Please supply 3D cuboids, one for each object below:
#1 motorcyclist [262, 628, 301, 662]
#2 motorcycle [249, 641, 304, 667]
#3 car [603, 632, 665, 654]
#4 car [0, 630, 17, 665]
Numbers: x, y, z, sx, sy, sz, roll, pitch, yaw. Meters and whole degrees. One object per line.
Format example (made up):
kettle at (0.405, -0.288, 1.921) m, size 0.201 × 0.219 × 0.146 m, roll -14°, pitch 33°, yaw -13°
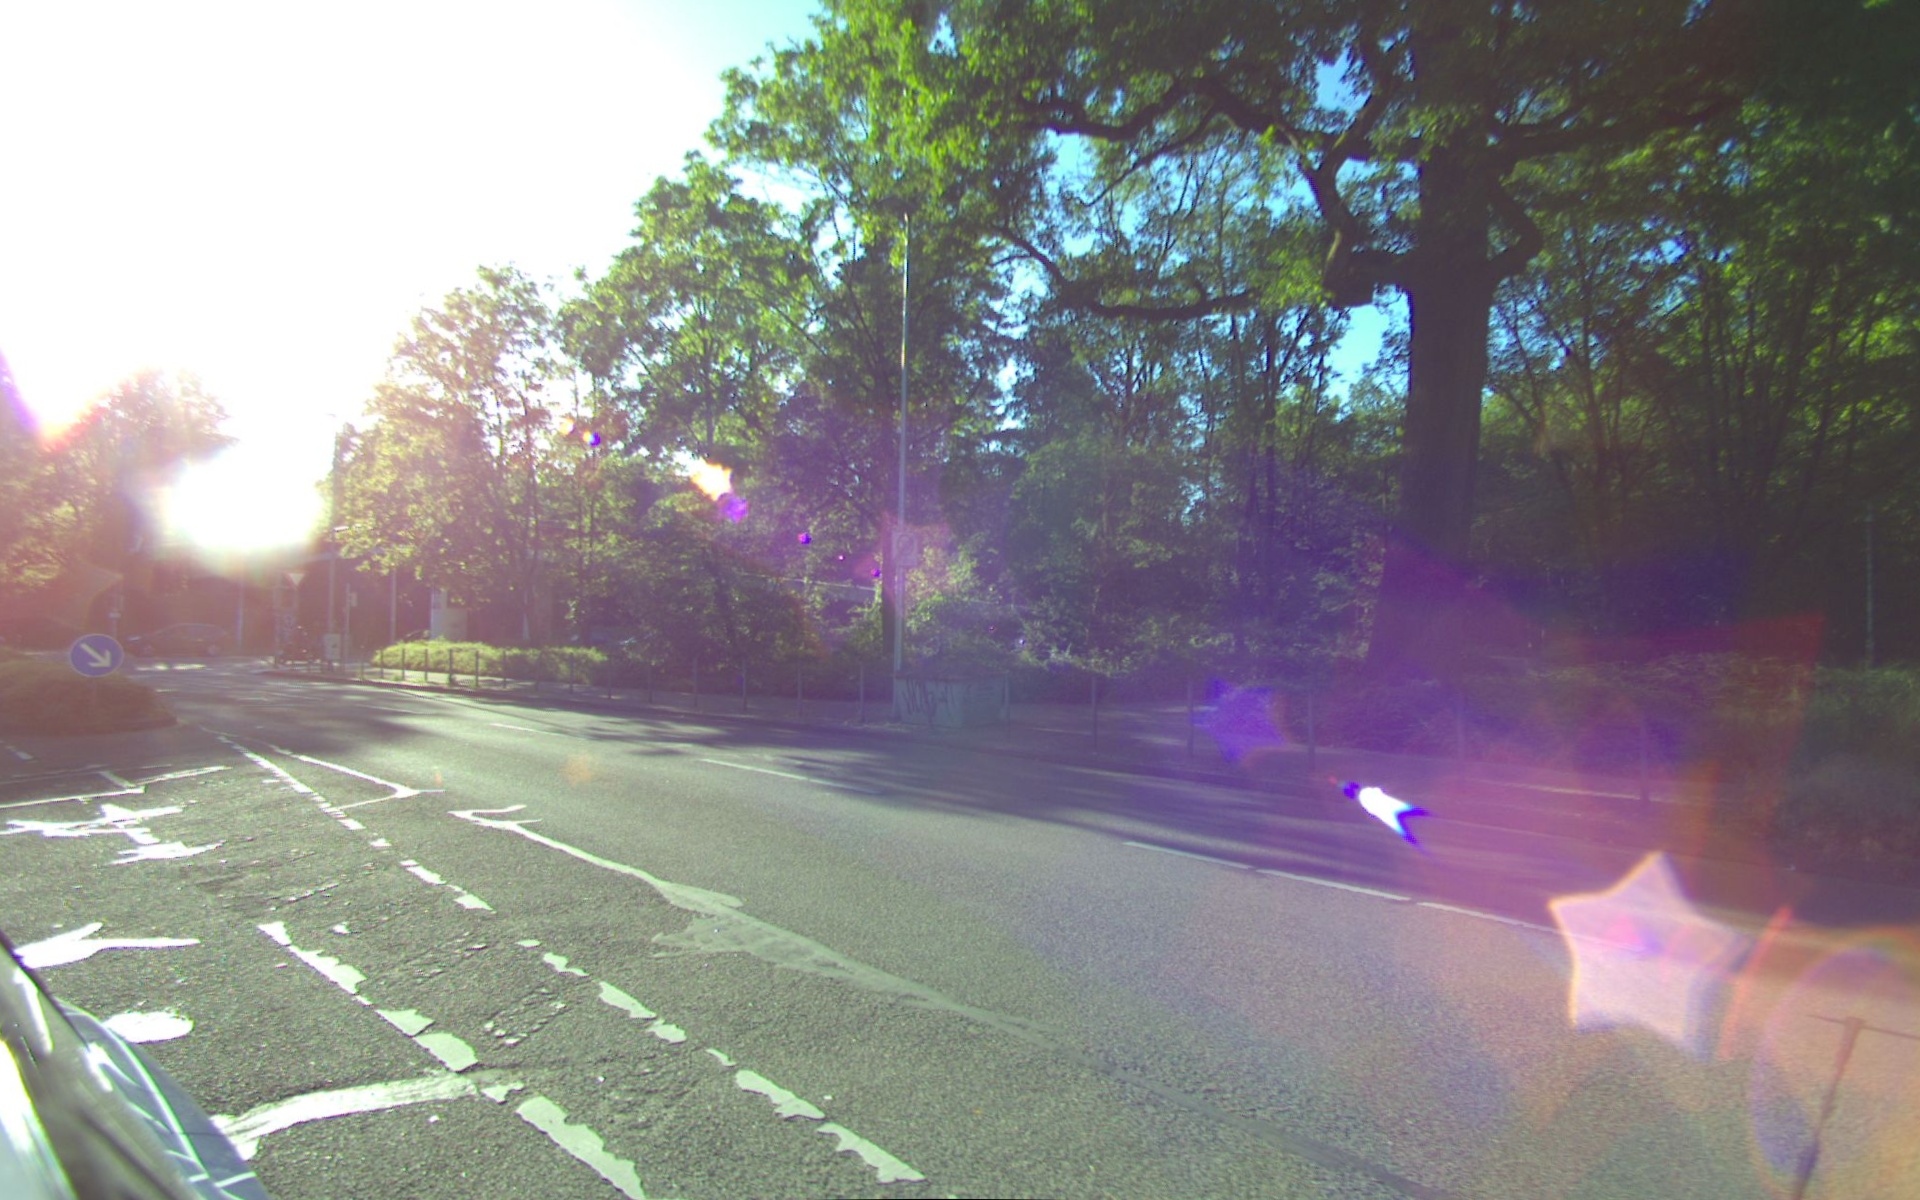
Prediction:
motorcyclist at (-29.902, 1.977, 44.602) m, size 0.941 × 1.482 × 1.066 m, roll 0°, pitch -2°, yaw 10°
motorcycle at (-29.925, 2.358, 44.374) m, size 0.519 × 1.077 × 2.280 m, roll 0°, pitch -2°, yaw 11°
car at (-23.481, 3.114, 73.027) m, size 1.720 × 1.519 × 3.923 m, roll 0°, pitch -2°, yaw 40°
car at (-40.226, 1.876, 39.994) m, size 1.850 × 1.400 × 3.984 m, roll 0°, pitch -2°, yaw 12°
